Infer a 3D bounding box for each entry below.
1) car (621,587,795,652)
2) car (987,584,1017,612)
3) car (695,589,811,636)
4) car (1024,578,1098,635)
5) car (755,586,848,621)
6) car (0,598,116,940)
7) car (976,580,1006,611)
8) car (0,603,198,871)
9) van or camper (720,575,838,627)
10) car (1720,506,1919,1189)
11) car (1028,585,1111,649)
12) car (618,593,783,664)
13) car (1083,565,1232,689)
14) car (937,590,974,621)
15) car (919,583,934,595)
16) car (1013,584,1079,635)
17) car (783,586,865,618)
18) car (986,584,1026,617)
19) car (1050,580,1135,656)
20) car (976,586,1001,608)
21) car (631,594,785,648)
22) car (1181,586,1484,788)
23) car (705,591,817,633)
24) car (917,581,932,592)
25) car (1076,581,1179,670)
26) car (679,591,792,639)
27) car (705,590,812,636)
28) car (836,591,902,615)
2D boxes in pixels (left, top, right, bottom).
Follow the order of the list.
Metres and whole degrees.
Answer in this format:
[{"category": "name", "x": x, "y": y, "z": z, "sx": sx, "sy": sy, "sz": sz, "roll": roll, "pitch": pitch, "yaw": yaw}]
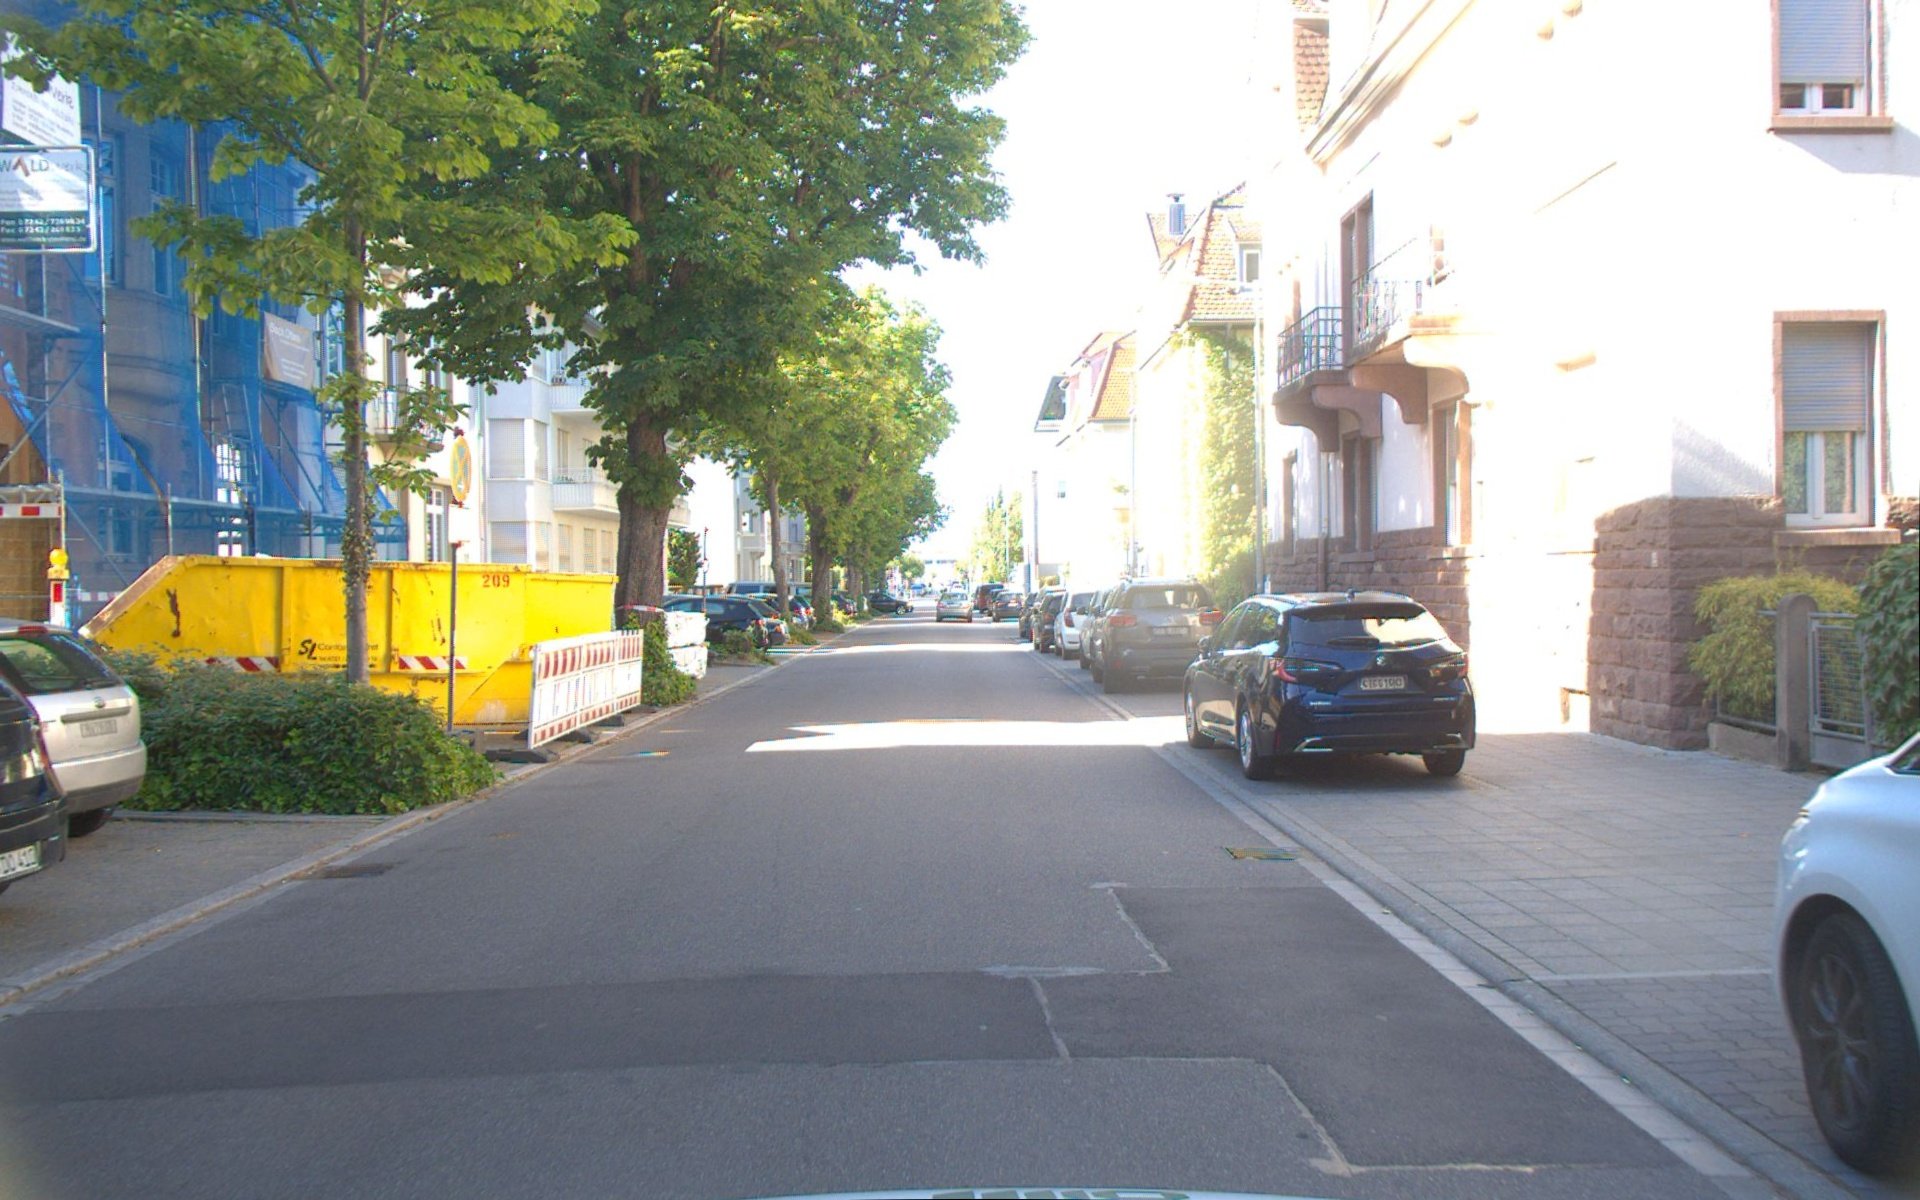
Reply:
[{"category": "car", "x": -6.755, "y": 0.496, "z": 44.364, "sx": 4.505, "sy": 1.635, "sz": 1.829, "roll": -1, "pitch": 0, "yaw": -10}, {"category": "car", "x": 2.446, "y": -0.145, "z": 96.554, "sx": 1.560, "sy": 1.506, "sz": 3.247, "roll": -3, "pitch": 0, "yaw": -1}, {"category": "car", "x": -6.786, "y": 0.415, "z": 54.448, "sx": 3.568, "sy": 1.488, "sz": 1.710, "roll": 1, "pitch": 0, "yaw": 1}, {"category": "car", "x": 2.917, "y": 0.208, "z": 48.562, "sx": 1.755, "sy": 1.547, "sz": 4.365, "roll": -2, "pitch": -1, "yaw": -1}, {"category": "car", "x": -7.297, "y": 0.139, "z": 76.404, "sx": 4.102, "sy": 1.525, "sz": 1.861, "roll": -1, "pitch": 0, "yaw": -2}, {"category": "car", "x": -6.078, "y": 0.791, "z": 7.428, "sx": 3.649, "sy": 1.490, "sz": 1.715, "roll": -1, "pitch": 1, "yaw": 0}, {"category": "car", "x": 2.035, "y": -0.300, "z": 109.180, "sx": 1.833, "sy": 1.938, "sz": 5.197, "roll": -2, "pitch": 0, "yaw": 0}, {"category": "car", "x": -6.817, "y": 0.826, "z": 10.101, "sx": 3.477, "sy": 1.473, "sz": 1.695, "roll": -2, "pitch": 0, "yaw": 0}, {"category": "van or camper", "x": -7.062, "y": 0.019, "z": 64.832, "sx": 4.405, "sy": 1.948, "sz": 1.964, "roll": -1, "pitch": 0, "yaw": -1}, {"category": "car", "x": 3.250, "y": 0.591, "z": 2.935, "sx": 1.829, "sy": 1.673, "sz": 4.199, "roll": -2, "pitch": 0, "yaw": 0}, {"category": "car", "x": 2.696, "y": 0.428, "z": 41.625, "sx": 1.675, "sy": 1.461, "sz": 4.192, "roll": -3, "pitch": -1, "yaw": -1}, {"category": "car", "x": -6.275, "y": 0.669, "z": 40.060, "sx": 3.800, "sy": 1.540, "sz": 1.829, "roll": -2, "pitch": 0, "yaw": -10}, {"category": "car", "x": 2.945, "y": 0.403, "z": 25.445, "sx": 1.741, "sy": 1.726, "sz": 4.320, "roll": 1, "pitch": -1, "yaw": 0}, {"category": "car", "x": -0.206, "y": 0.264, "z": 80.836, "sx": 1.691, "sy": 1.445, "sz": 3.961, "roll": -1, "pitch": 1, "yaw": 1}, {"category": "car", "x": -4.727, "y": -1.563, "z": 234.855, "sx": 1.836, "sy": 1.758, "sz": 3.996, "roll": -1, "pitch": 1, "yaw": -5}, {"category": "car", "x": 2.767, "y": 0.314, "z": 53.937, "sx": 1.629, "sy": 1.547, "sz": 3.998, "roll": -2, "pitch": -1, "yaw": -4}, {"category": "car", "x": -6.689, "y": 0.101, "z": 81.531, "sx": 3.906, "sy": 1.494, "sz": 1.696, "roll": -1, "pitch": 0, "yaw": -1}, {"category": "car", "x": 2.205, "y": 0.004, "z": 79.673, "sx": 1.587, "sy": 1.465, "sz": 3.933, "roll": -3, "pitch": 1, "yaw": -2}, {"category": "car", "x": 2.944, "y": 0.414, "z": 37.334, "sx": 1.543, "sy": 1.576, "sz": 3.468, "roll": -2, "pitch": -1, "yaw": -1}, {"category": "car", "x": 2.068, "y": -0.219, "z": 122.207, "sx": 1.701, "sy": 1.558, "sz": 4.178, "roll": -1, "pitch": 1, "yaw": -1}, {"category": "car", "x": -7.098, "y": 0.578, "z": 46.898, "sx": 4.103, "sy": 1.466, "sz": 1.712, "roll": -1, "pitch": 0, "yaw": -2}, {"category": "car", "x": 3.045, "y": 0.623, "z": 14.438, "sx": 1.610, "sy": 1.479, "sz": 4.502, "roll": 0, "pitch": 0, "yaw": 0}, {"category": "car", "x": -7.096, "y": 0.418, "z": 59.321, "sx": 3.843, "sy": 1.439, "sz": 1.715, "roll": 1, "pitch": 1, "yaw": -3}, {"category": "car", "x": -5.186, "y": -1.945, "z": 241.613, "sx": 1.753, "sy": 1.559, "sz": 3.994, "roll": -1, "pitch": 1, "yaw": -6}, {"category": "car", "x": 3.072, "y": 0.462, "z": 30.773, "sx": 1.592, "sy": 1.576, "sz": 2.868, "roll": 0, "pitch": -1, "yaw": -1}, {"category": "car", "x": -7.007, "y": 0.461, "z": 51.930, "sx": 3.411, "sy": 1.445, "sz": 1.708, "roll": 1, "pitch": -1, "yaw": -6}, {"category": "car", "x": -6.882, "y": 0.437, "z": 56.798, "sx": 3.407, "sy": 1.483, "sz": 1.797, "roll": 1, "pitch": 0, "yaw": 0}, {"category": "car", "x": -5.882, "y": 0.188, "z": 106.871, "sx": 4.102, "sy": 1.473, "sz": 1.712, "roll": 1, "pitch": -1, "yaw": 1}]
